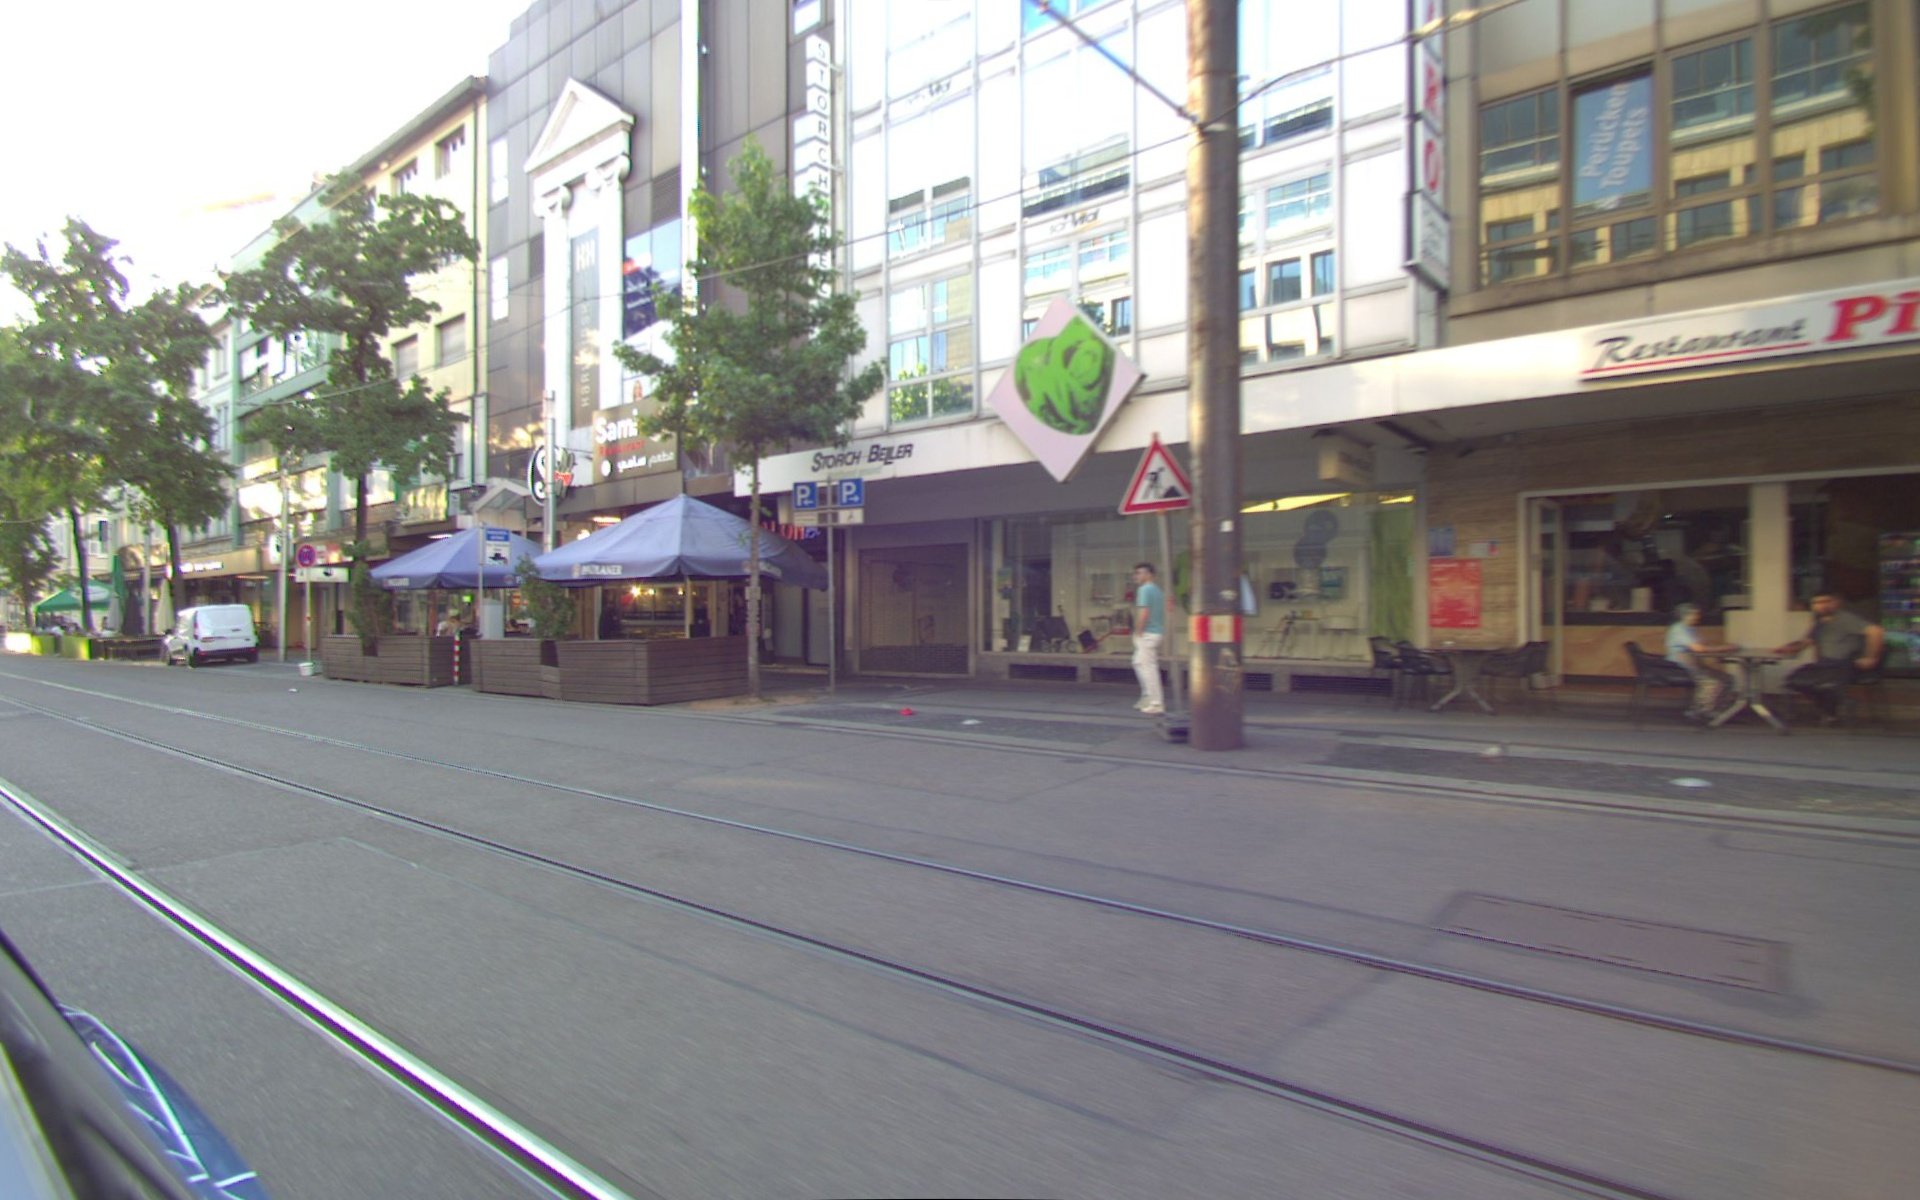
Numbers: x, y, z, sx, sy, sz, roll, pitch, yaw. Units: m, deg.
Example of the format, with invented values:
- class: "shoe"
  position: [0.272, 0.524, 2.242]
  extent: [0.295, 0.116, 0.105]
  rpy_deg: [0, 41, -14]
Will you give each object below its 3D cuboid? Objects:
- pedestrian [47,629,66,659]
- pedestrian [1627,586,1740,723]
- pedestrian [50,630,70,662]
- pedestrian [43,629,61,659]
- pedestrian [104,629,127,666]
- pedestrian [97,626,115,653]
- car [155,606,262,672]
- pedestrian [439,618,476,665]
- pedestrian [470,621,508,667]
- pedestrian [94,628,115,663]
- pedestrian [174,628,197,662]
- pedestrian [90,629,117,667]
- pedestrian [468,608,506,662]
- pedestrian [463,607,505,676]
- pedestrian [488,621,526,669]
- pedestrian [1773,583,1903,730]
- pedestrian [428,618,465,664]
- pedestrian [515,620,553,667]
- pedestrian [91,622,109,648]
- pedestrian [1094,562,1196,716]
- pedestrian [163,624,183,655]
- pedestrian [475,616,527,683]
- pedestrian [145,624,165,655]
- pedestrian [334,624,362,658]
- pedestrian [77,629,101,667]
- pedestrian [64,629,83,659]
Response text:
- class: "pedestrian"
  position: [-42.403, 2.067, 47.505]
  extent: [0.640, 1.396, 0.651]
  rpy_deg: [0, -2, -43]
- class: "pedestrian"
  position: [7.544, 0.543, 10.550]
  extent: [0.911, 1.335, 0.664]
  rpy_deg: [-1, 1, 39]
- class: "pedestrian"
  position: [-39.721, 2.023, 44.645]
  extent: [0.640, 1.396, 0.651]
  rpy_deg: [0, -2, -43]
- class: "pedestrian"
  position: [-43.350, 2.082, 48.306]
  extent: [0.640, 1.396, 0.651]
  rpy_deg: [0, -2, -43]
- class: "pedestrian"
  position: [-34.298, 1.902, 41.095]
  extent: [0.639, 1.471, 0.652]
  rpy_deg: [0, -1, -33]
- class: "pedestrian"
  position: [-47.246, 2.207, 56.012]
  extent: [0.649, 1.471, 0.642]
  rpy_deg: [-2, -2, 38]
- class: "car"
  position: [-23.824, 1.205, 32.035]
  extent: [4.328, 1.835, 1.807]
  rpy_deg: [-2, 1, 42]
- class: "pedestrian"
  position: [-14.061, 1.142, 28.315]
  extent: [0.665, 1.237, 0.635]
  rpy_deg: [-1, 4, 38]
- class: "pedestrian"
  position: [-12.513, 1.163, 26.884]
  extent: [0.665, 1.165, 0.635]
  rpy_deg: [-1, 2, 38]
- class: "pedestrian"
  position: [-36.568, 1.938, 43.241]
  extent: [0.639, 1.471, 0.651]
  rpy_deg: [0, -1, -37]
- class: "pedestrian"
  position: [-34.252, 1.982, 44.760]
  extent: [0.648, 1.471, 0.643]
  rpy_deg: [-1, -1, 31]
- class: "pedestrian"
  position: [-34.018, 1.896, 40.202]
  extent: [0.639, 1.471, 0.652]
  rpy_deg: [0, -1, -20]
- class: "pedestrian"
  position: [-13.233, 0.973, 28.310]
  extent: [0.642, 1.444, 0.654]
  rpy_deg: [0, 4, 40]
- class: "pedestrian"
  position: [-11.112, 0.953, 23.621]
  extent: [0.564, 1.564, 0.650]
  rpy_deg: [-1, 2, 38]
- class: "pedestrian"
  position: [-11.713, 1.151, 26.166]
  extent: [0.665, 1.165, 0.635]
  rpy_deg: [-1, 2, 38]
- class: "pedestrian"
  position: [8.530, 0.525, 9.870]
  extent: [0.911, 1.335, 0.664]
  rpy_deg: [-1, 1, 39]
- class: "pedestrian"
  position: [-14.697, 1.153, 28.957]
  extent: [0.665, 1.237, 0.635]
  rpy_deg: [-1, 4, 38]
- class: "pedestrian"
  position: [-11.313, 1.146, 26.878]
  extent: [0.665, 1.165, 0.635]
  rpy_deg: [-1, 2, 38]
- class: "pedestrian"
  position: [-49.082, 1.979, 57.755]
  extent: [0.649, 1.471, 0.642]
  rpy_deg: [-2, -2, 38]
- class: "pedestrian"
  position: [2.286, 0.457, 12.528]
  extent: [0.676, 1.806, 0.991]
  rpy_deg: [-3, 2, -45]
- class: "pedestrian"
  position: [-38.065, 1.899, 48.937]
  extent: [0.649, 1.471, 0.642]
  rpy_deg: [-2, -1, 37]
- class: "pedestrian"
  position: [-10.133, 1.073, 22.359]
  extent: [0.746, 1.411, 0.756]
  rpy_deg: [-1, 2, 39]
- class: "pedestrian"
  position: [-39.086, 1.914, 49.137]
  extent: [0.649, 1.471, 0.642]
  rpy_deg: [-2, -1, 37]
- class: "pedestrian"
  position: [-21.673, 1.437, 35.838]
  extent: [0.648, 1.184, 0.642]
  rpy_deg: [-1, 0, 35]
- class: "pedestrian"
  position: [-34.916, 1.910, 40.589]
  extent: [0.650, 1.471, 0.641]
  rpy_deg: [-2, -2, 41]
- class: "pedestrian"
  position: [-42.009, 2.062, 47.938]
  extent: [0.640, 1.396, 0.651]
  rpy_deg: [0, -2, -43]
